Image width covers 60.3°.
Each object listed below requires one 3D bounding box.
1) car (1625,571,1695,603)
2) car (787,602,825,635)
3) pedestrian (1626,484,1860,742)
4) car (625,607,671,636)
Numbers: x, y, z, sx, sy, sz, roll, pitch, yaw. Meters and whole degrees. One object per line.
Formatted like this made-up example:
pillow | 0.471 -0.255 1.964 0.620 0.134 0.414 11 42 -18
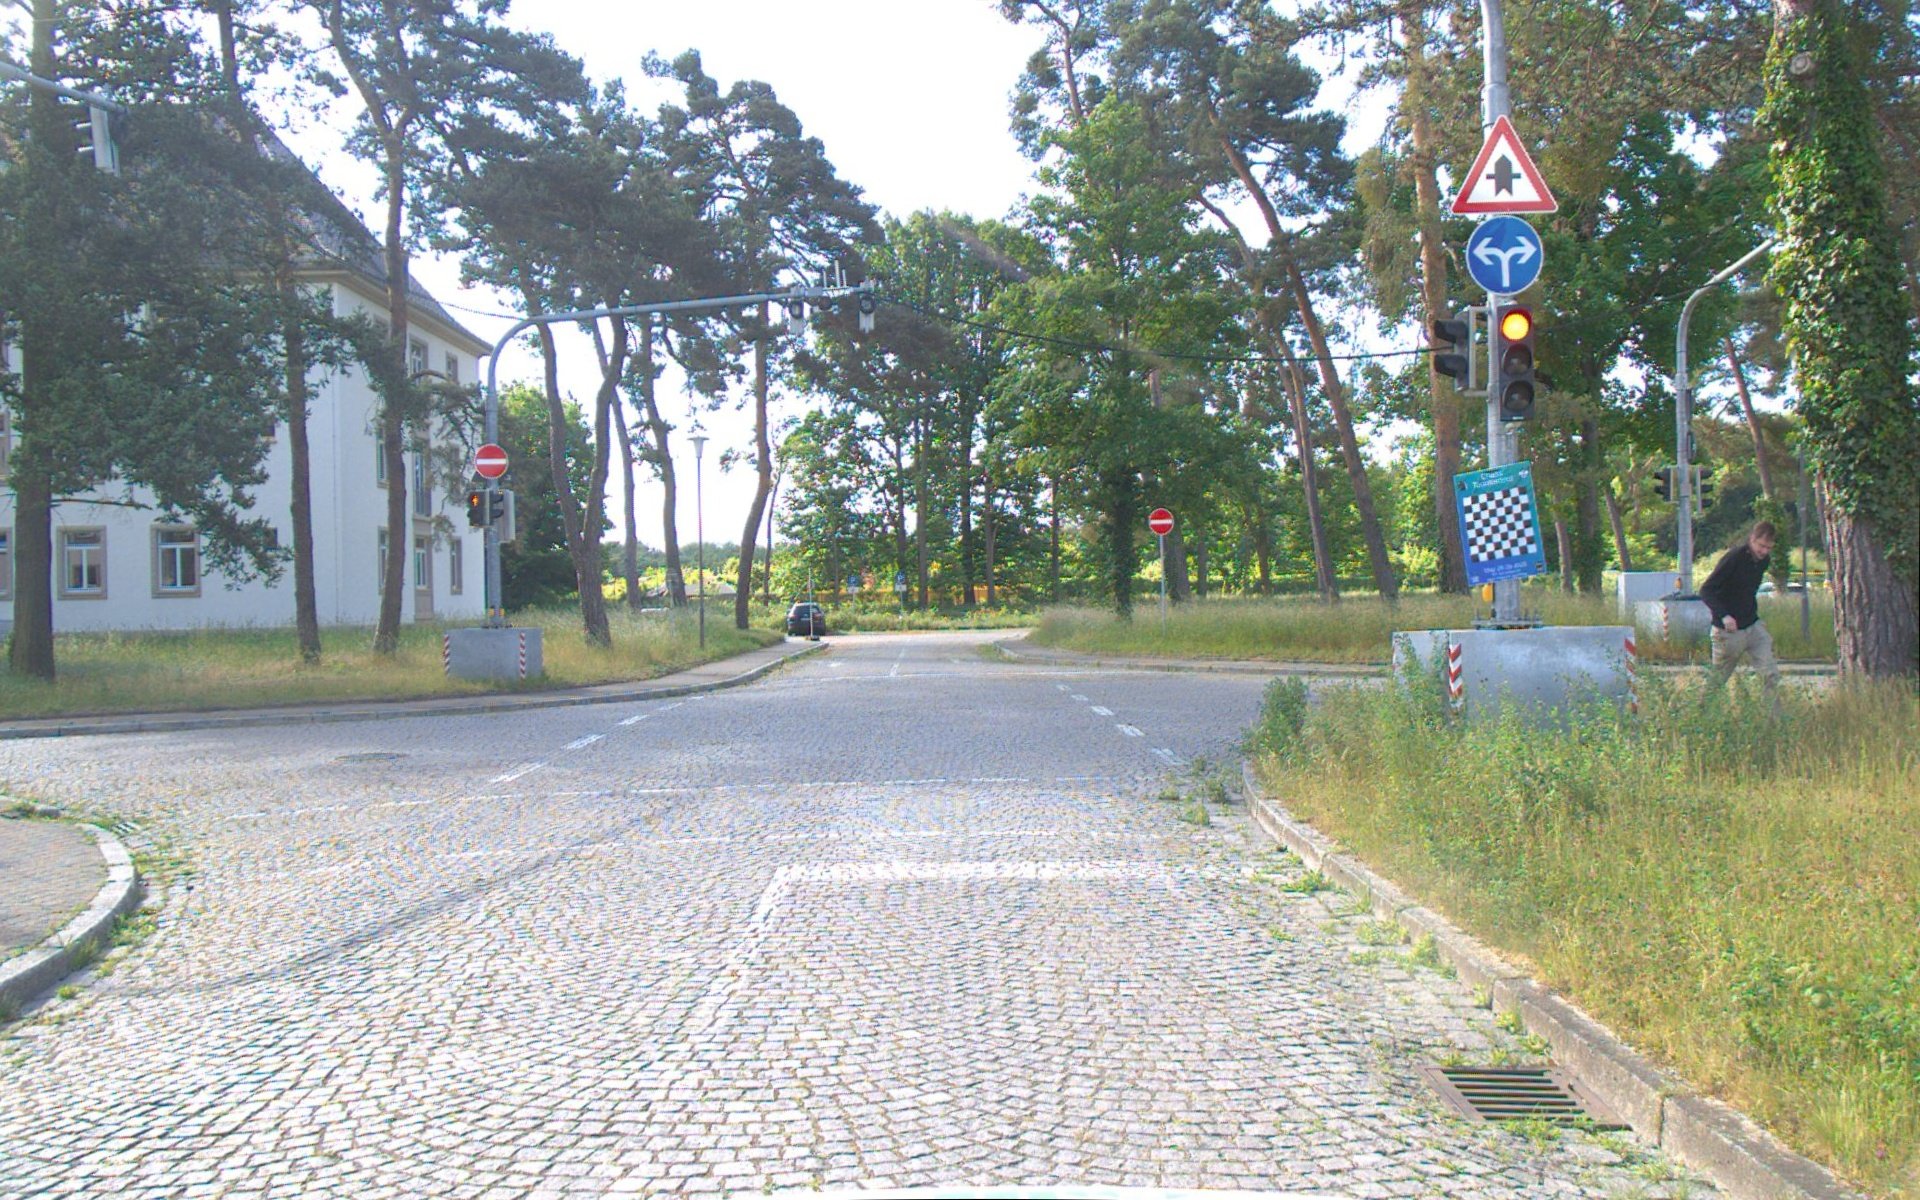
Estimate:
car | 36.937 -0.657 87.389 1.790 1.609 4.161 -2 0 -1
car | -7.434 0.891 80.290 1.676 1.522 3.916 -2 0 -4
pedestrian | 5.913 0.083 12.535 1.150 1.827 1.057 -2 0 -18
car | -15.225 1.035 80.815 1.676 1.296 3.916 -2 0 -4
